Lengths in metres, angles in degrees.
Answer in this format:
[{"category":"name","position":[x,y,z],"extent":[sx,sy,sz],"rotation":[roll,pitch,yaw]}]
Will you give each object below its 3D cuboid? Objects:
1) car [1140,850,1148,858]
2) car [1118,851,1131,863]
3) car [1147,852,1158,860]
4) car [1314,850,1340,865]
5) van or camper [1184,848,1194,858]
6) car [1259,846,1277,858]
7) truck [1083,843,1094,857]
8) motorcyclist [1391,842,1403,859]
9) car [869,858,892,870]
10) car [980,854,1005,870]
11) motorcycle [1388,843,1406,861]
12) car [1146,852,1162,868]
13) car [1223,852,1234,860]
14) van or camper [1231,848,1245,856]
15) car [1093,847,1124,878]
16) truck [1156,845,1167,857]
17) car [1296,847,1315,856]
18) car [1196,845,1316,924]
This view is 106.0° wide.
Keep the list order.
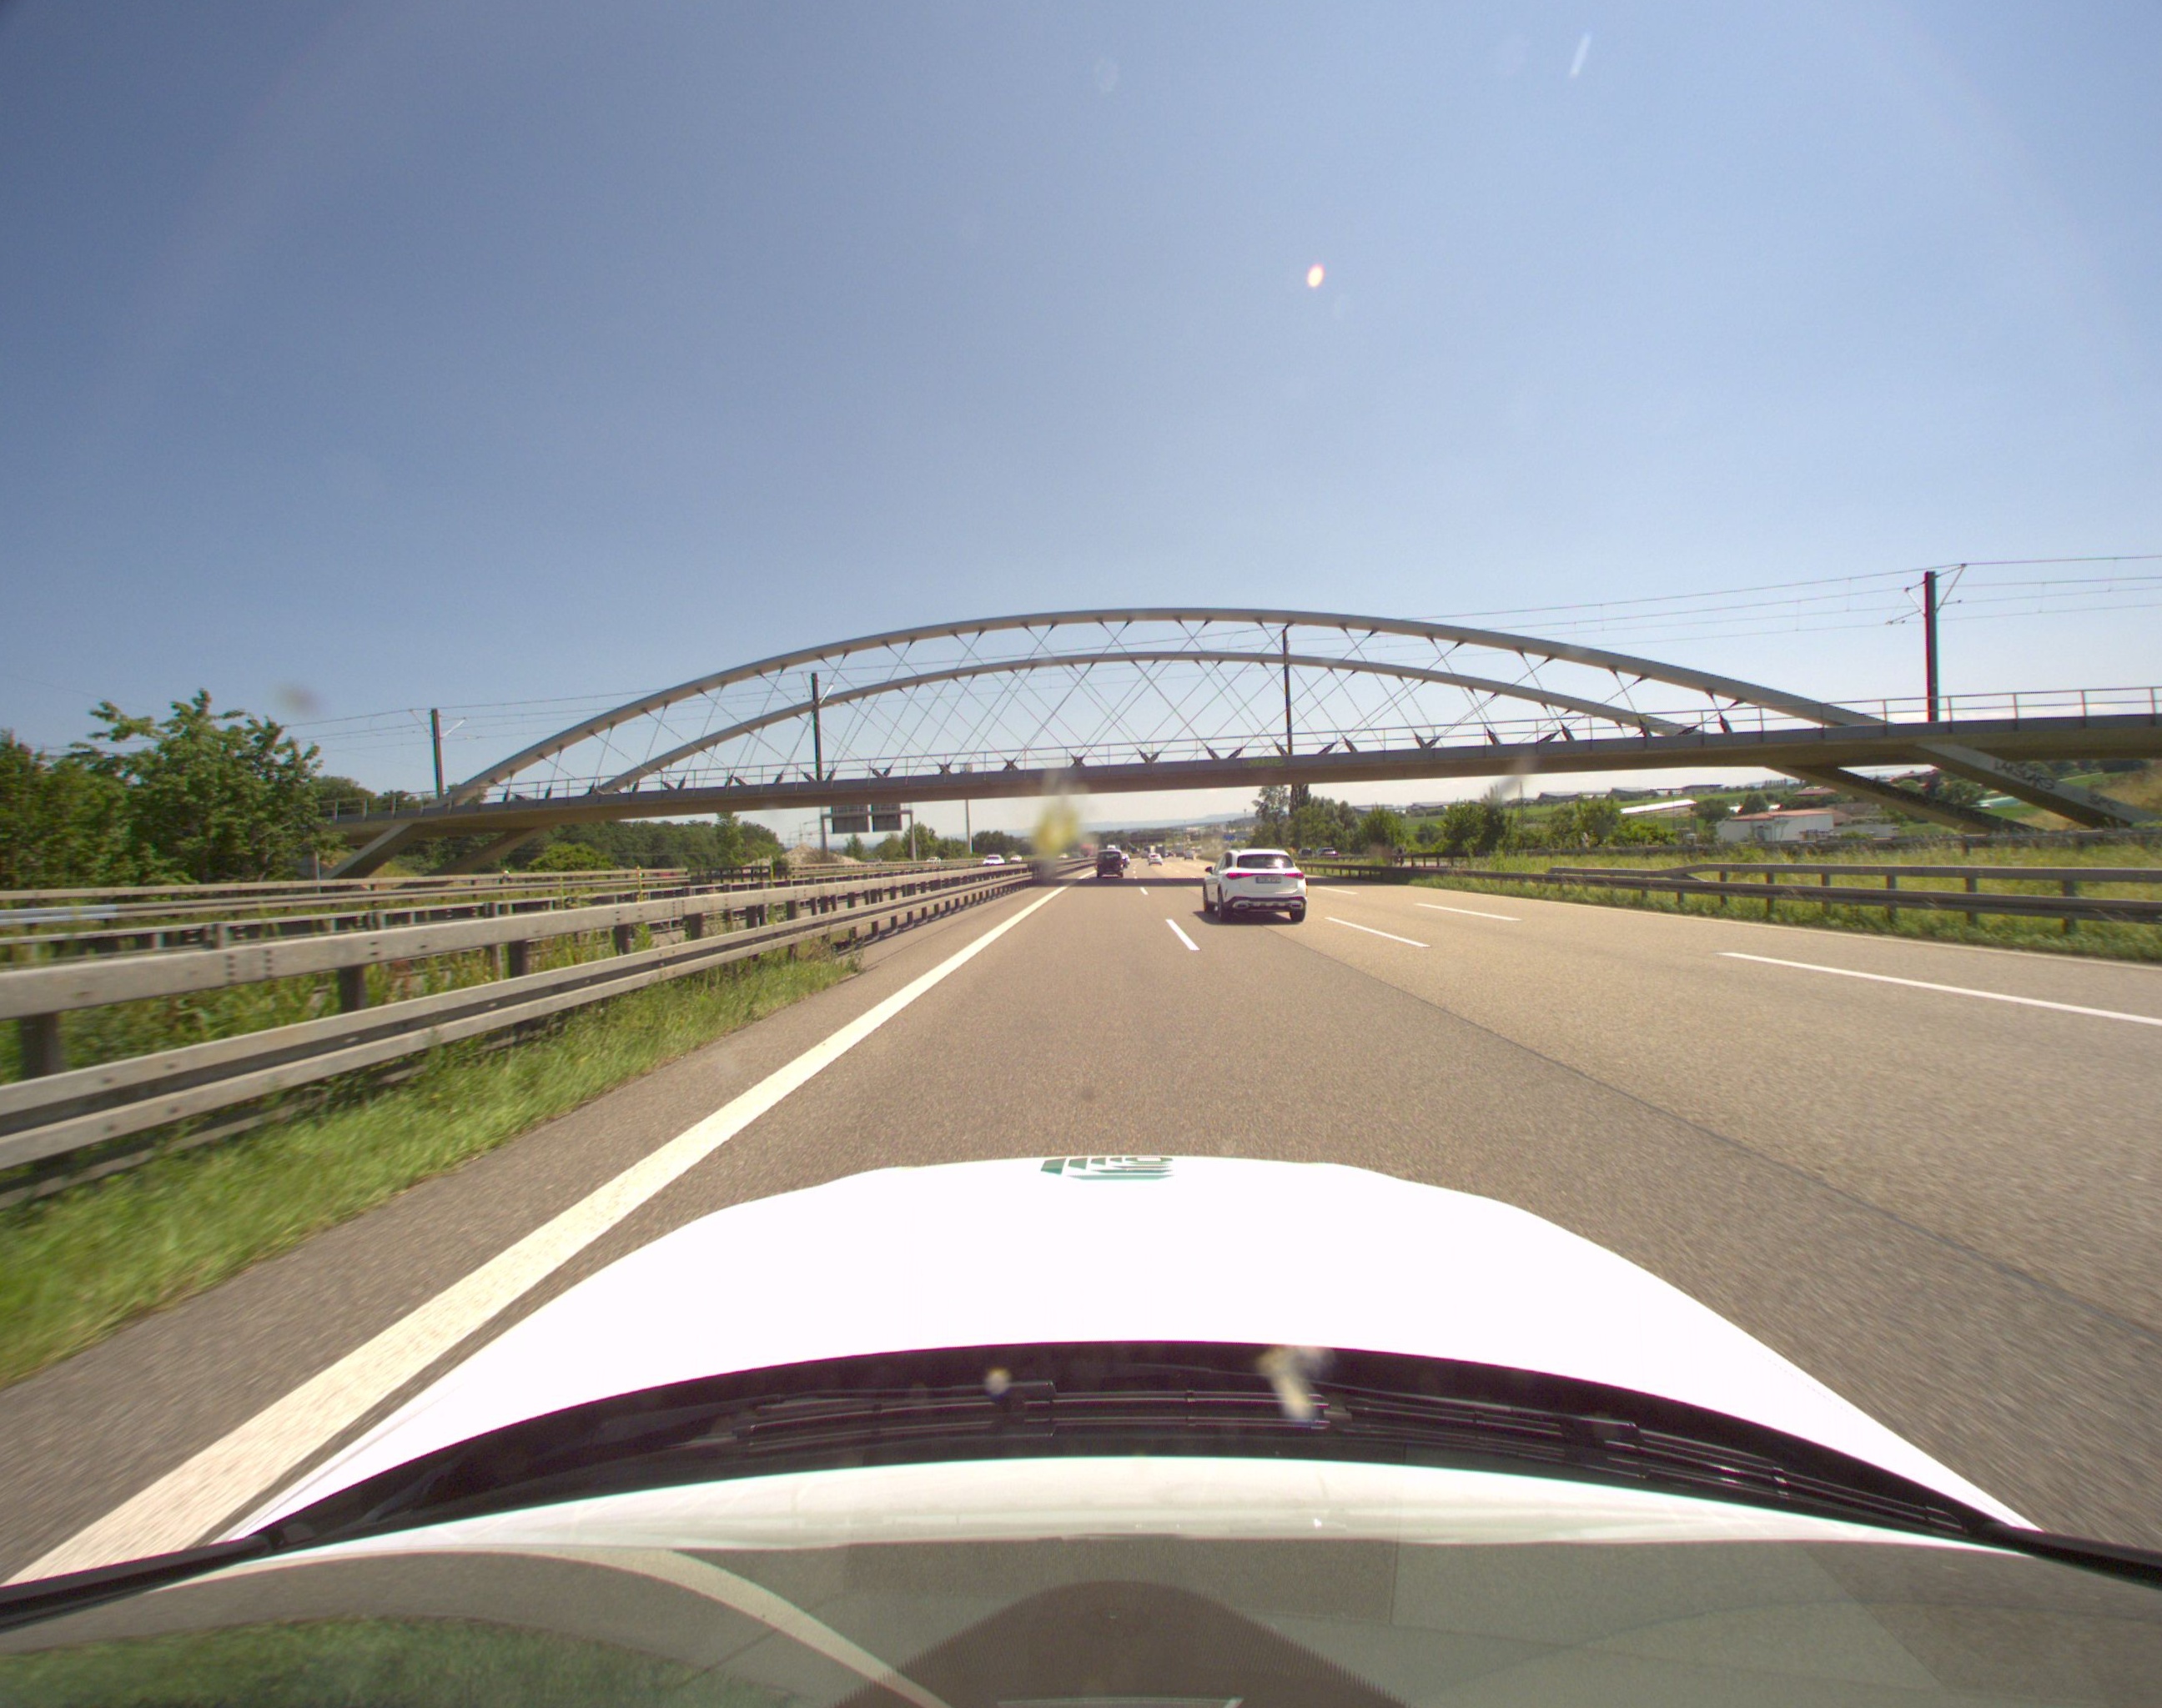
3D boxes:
[{"category":"car","position":[16.679,0.002,216.198],"extent":[2.176,2.003,4.005],"rotation":[0,0,5]},{"category":"car","position":[6.088,0.427,113.664],"extent":[1.568,1.552,3.969],"rotation":[0,0,5]},{"category":"car","position":[13.526,0.396,154.867],"extent":[1.972,1.473,4.007],"rotation":[-1,0,6]},{"category":"car","position":[25.927,0.351,85.913],"extent":[1.692,1.575,4.131],"rotation":[0,0,3]},{"category":"van or camper","position":[23.302,-0.158,175.683],"extent":[2.145,2.014,4.312],"rotation":[0,0,7]},{"category":"car","position":[29.485,-0.266,128.466],"extent":[1.932,1.923,4.180],"rotation":[0,0,1]},{"category":"truck","position":[2.150,-1.116,233.349],"extent":[2.570,4.115,10.361],"rotation":[-1,0,5]},{"category":"motorcyclist","position":[25.231,-0.265,65.037],"extent":[0.666,1.366,0.879],"rotation":[0,-1,2]},{"category":"car","position":[-29.324,1.435,119.248],"extent":[1.984,1.618,4.327],"rotation":[-1,0,4]},{"category":"car","position":[-9.667,0.851,89.175],"extent":[1.920,1.639,4.981],"rotation":[-1,0,3]},{"category":"motorcycle","position":[25.236,-0.154,65.104],"extent":[0.757,1.366,1.870],"rotation":[0,0,1]},{"category":"car","position":[9.385,0.762,105.313],"extent":[1.919,1.919,4.521],"rotation":[0,0,3]},{"category":"car","position":[36.221,0.532,199.533],"extent":[1.987,2.014,3.999],"rotation":[0,0,0]},{"category":"van or camper","position":[41.752,-0.441,216.751],"extent":[2.526,2.014,4.451],"rotation":[0,0,-6]},{"category":"car","position":[1.890,0.565,54.073],"extent":[1.918,1.919,4.952],"rotation":[0,0,3]},{"category":"truck","position":[21.577,-0.638,217.724],"extent":[2.689,3.109,10.677],"rotation":[0,0,6]},{"category":"car","position":[31.522,-0.328,114.472],"extent":[1.693,1.277,4.000],"rotation":[0,0,1]},{"category":"car","position":[4.036,0.651,19.675],"extent":[1.891,1.647,4.999],"rotation":[0,0,1]}]
